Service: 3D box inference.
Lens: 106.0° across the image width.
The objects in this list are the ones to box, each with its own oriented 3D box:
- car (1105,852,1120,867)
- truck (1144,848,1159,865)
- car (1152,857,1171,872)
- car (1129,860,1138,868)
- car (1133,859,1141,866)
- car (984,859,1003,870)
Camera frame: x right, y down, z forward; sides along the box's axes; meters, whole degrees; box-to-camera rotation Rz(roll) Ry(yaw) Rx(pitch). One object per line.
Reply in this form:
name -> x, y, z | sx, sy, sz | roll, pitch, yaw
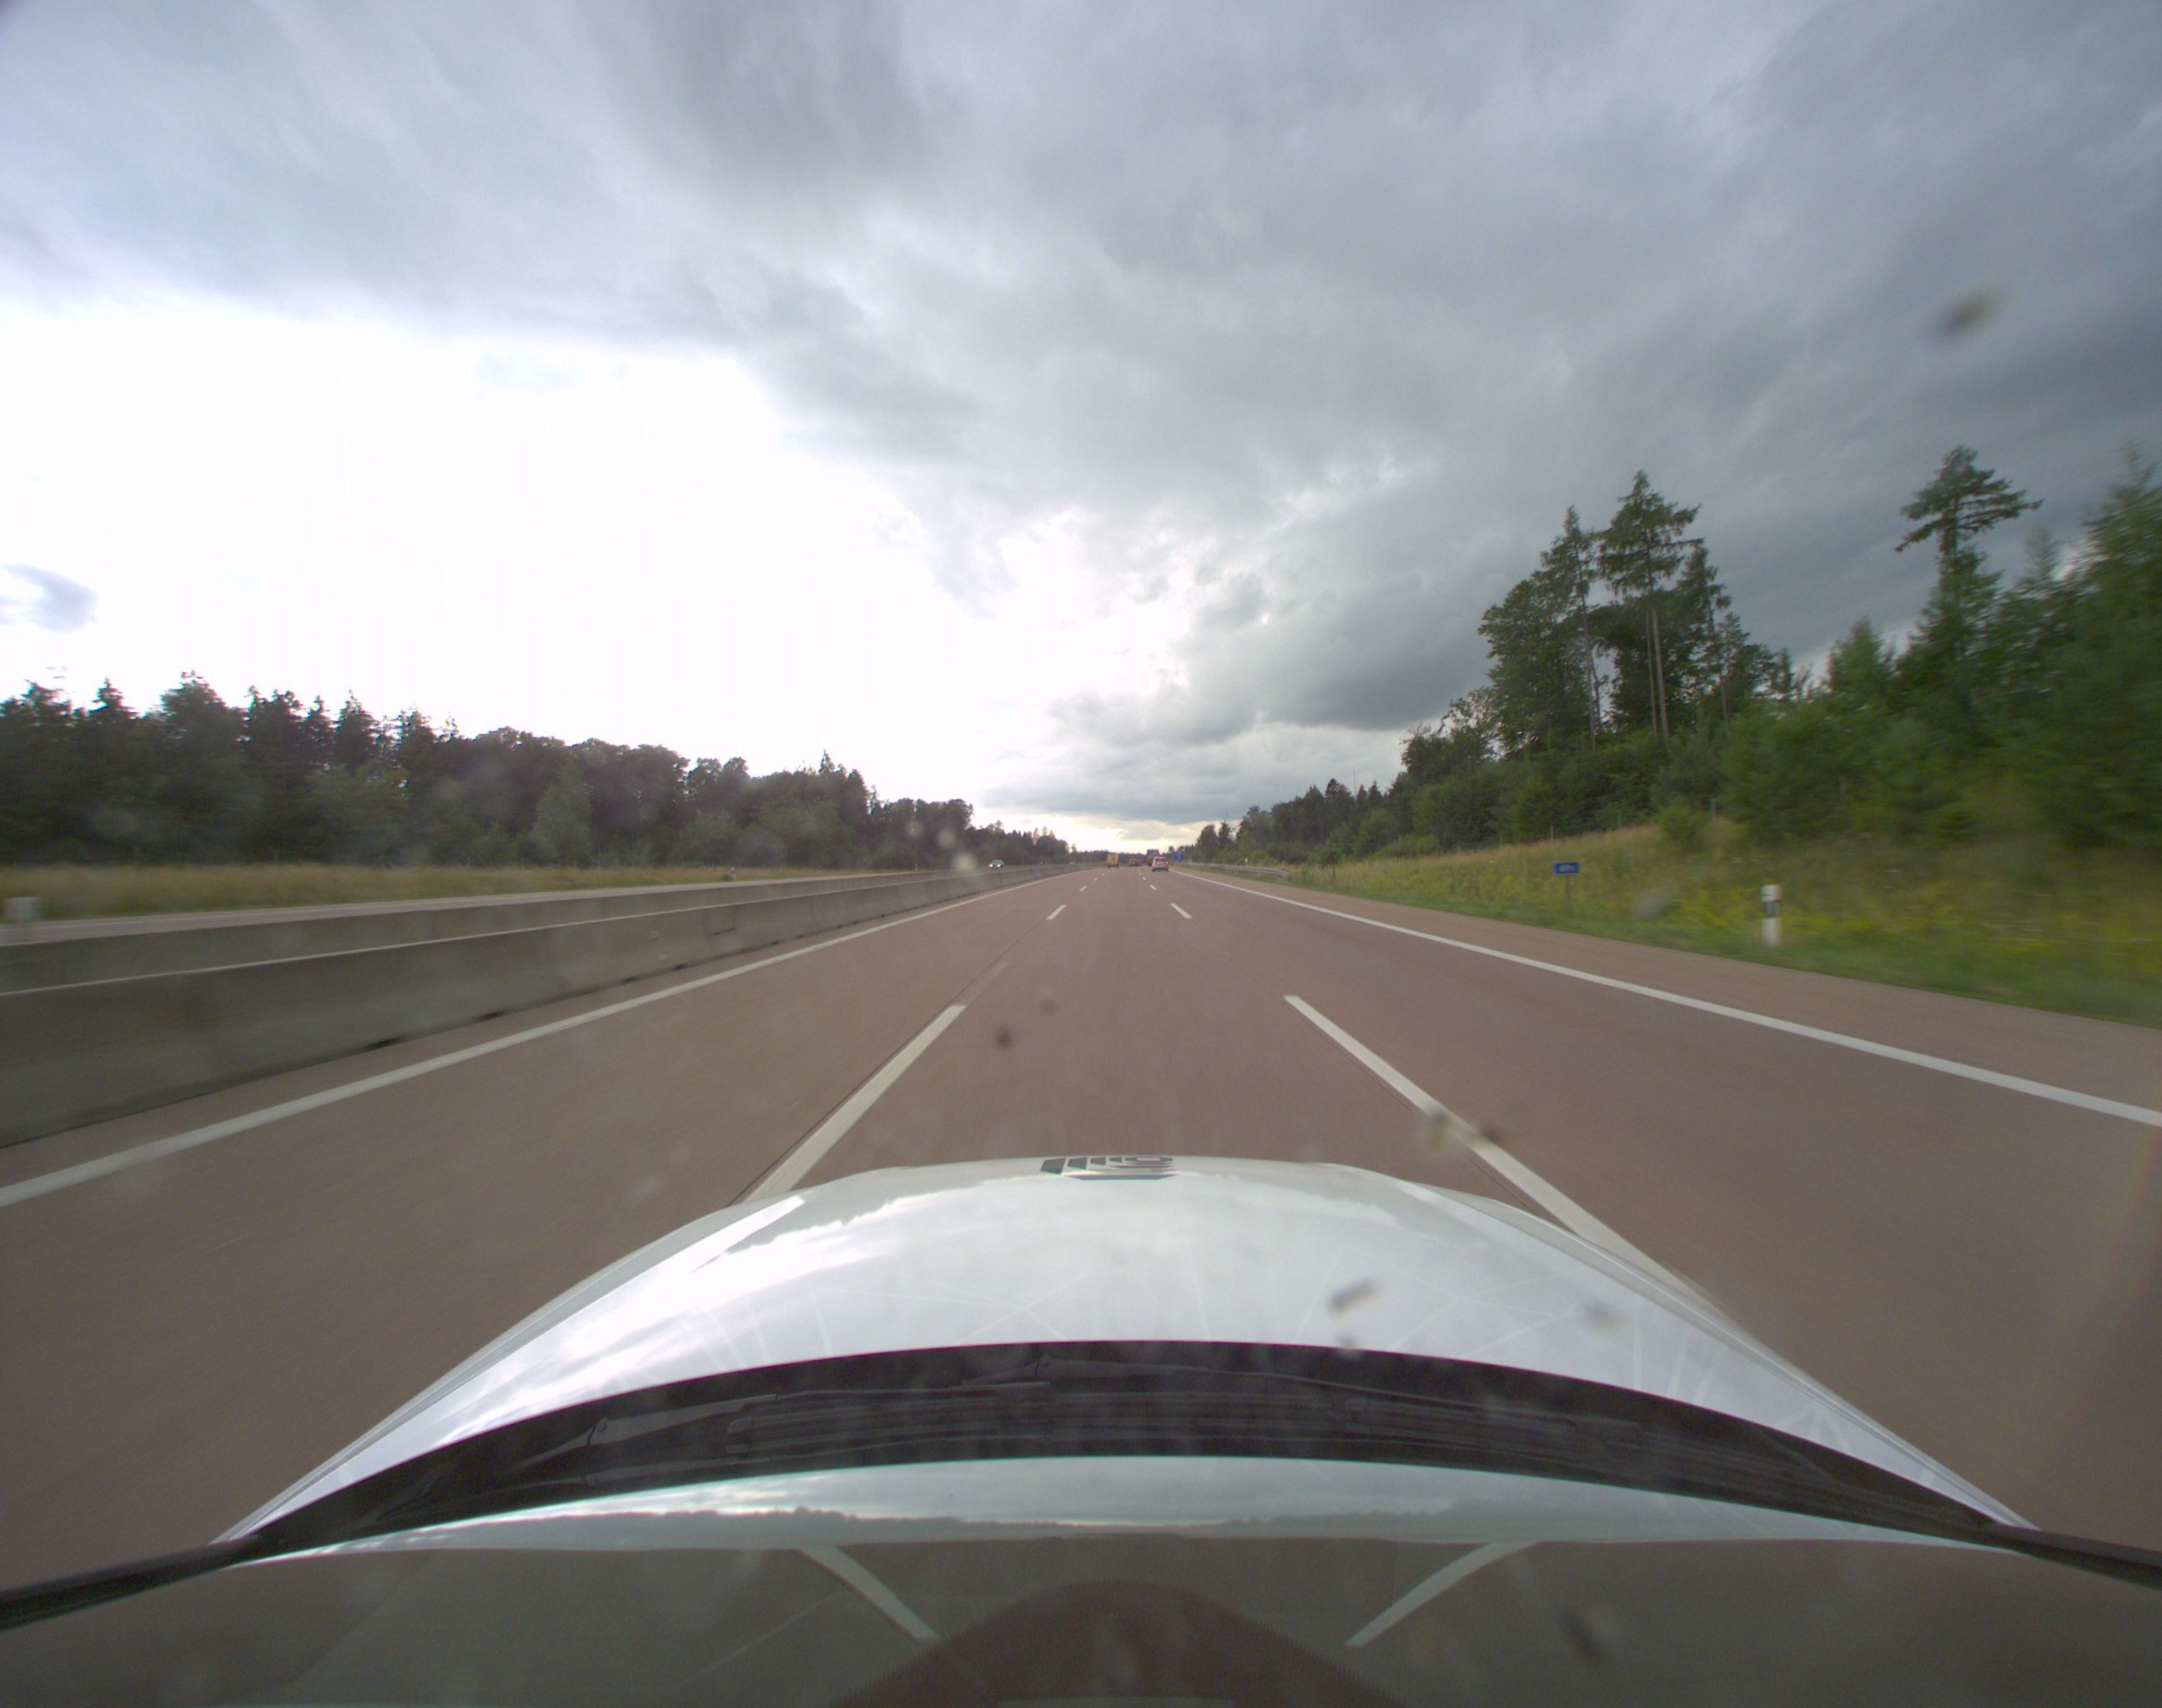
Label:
car -> 5.925, 1.043, 153.120 | 2.447, 2.706, 5.621 | -1, -1, 5
truck -> 17.257, 0.736, 198.721 | 3.663, 3.913, 12.833 | 0, -1, 5
car -> 8.946, 1.160, 90.897 | 1.969, 1.648, 4.624 | 0, 0, 4
car -> 11.449, 2.166, 177.877 | 1.879, 1.764, 4.787 | -1, -1, 4
car -> 15.265, 2.279, 220.974 | 1.878, 1.764, 5.004 | -1, -1, 5
car -> -13.997, 1.697, 130.843 | 2.207, 1.566, 4.854 | -1, -1, 4
